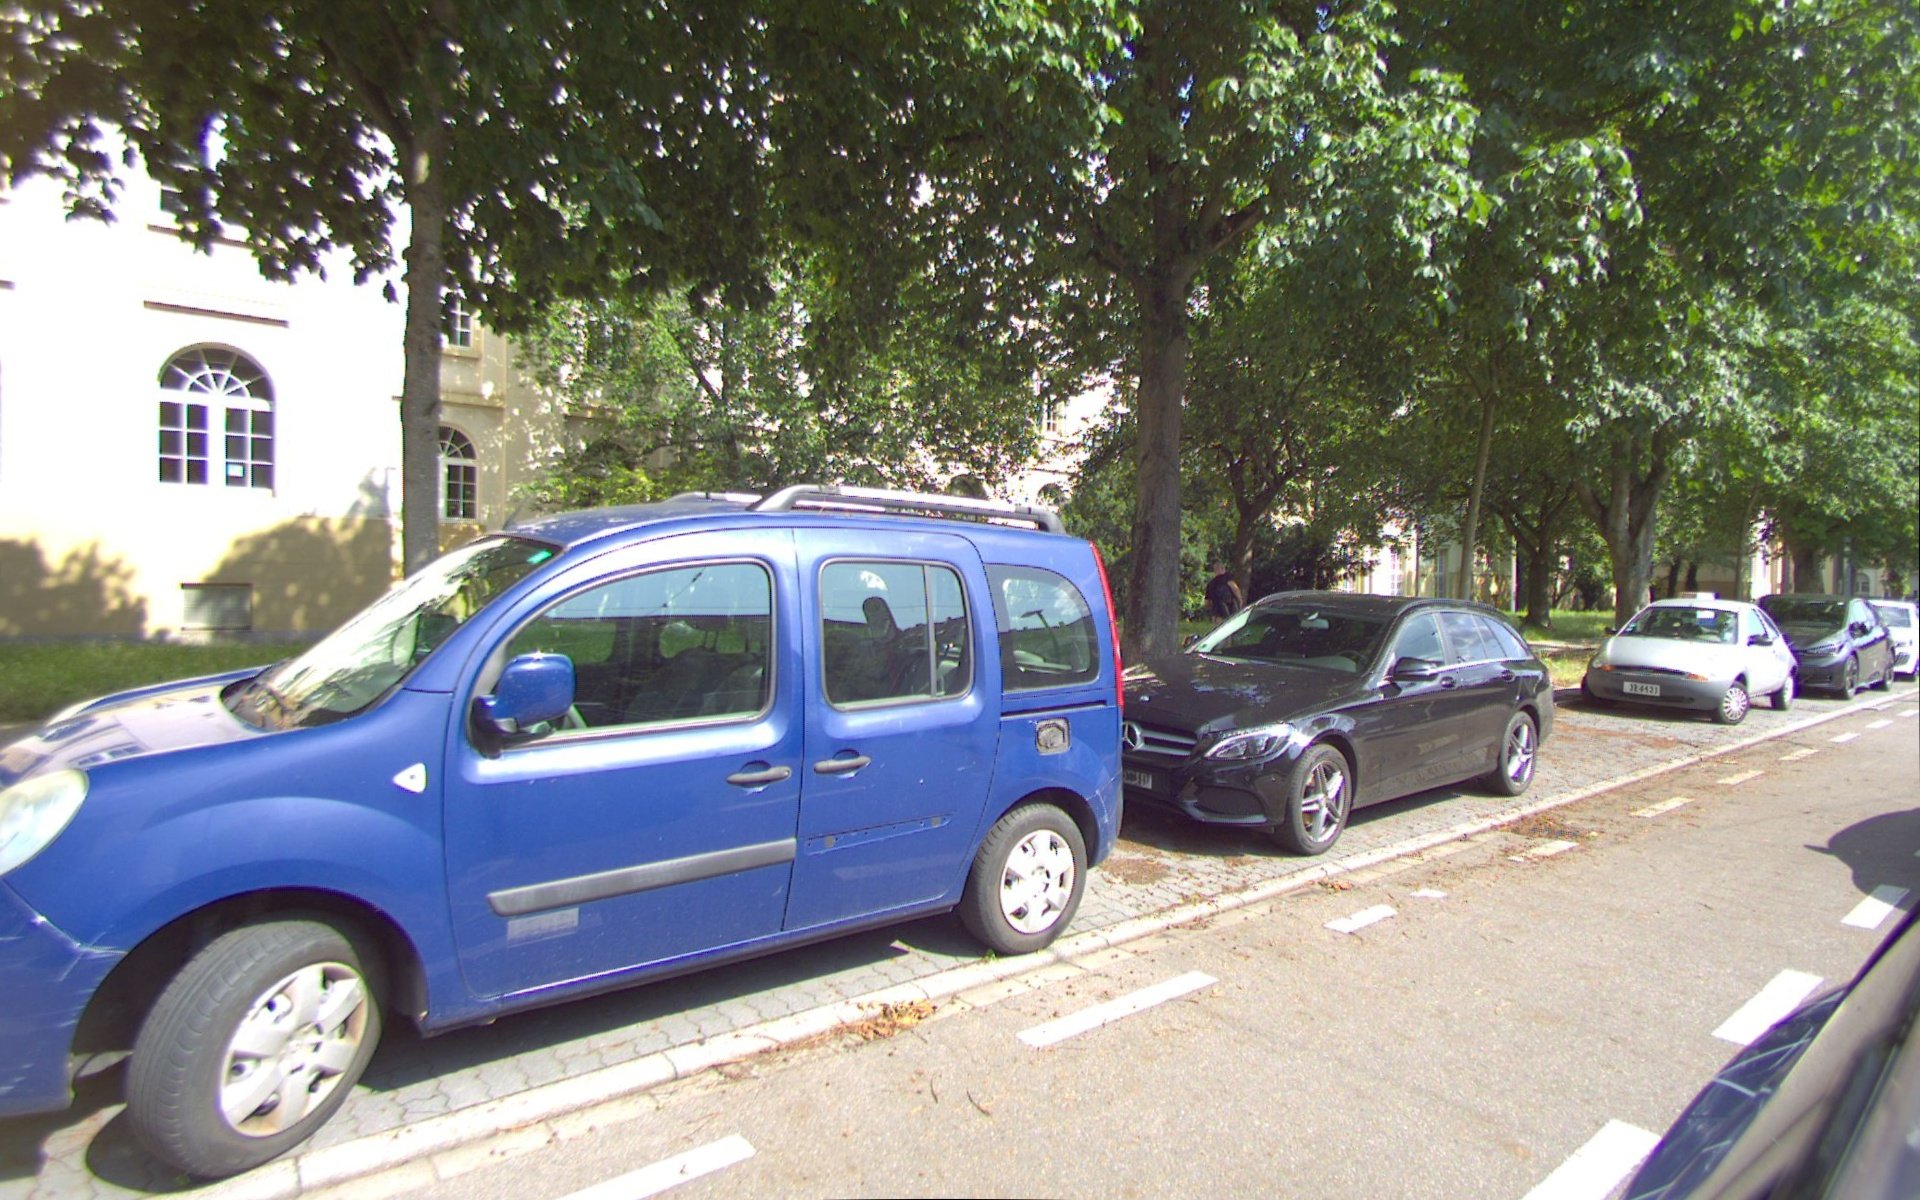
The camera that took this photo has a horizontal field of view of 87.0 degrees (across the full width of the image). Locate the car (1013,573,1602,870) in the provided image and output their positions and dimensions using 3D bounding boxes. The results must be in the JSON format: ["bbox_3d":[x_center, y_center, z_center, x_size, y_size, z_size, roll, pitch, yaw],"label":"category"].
[{"bbox_3d":[2.795,0.620,7.498,4.711,1.459,1.922,0,3,-40],"label":"car"}]

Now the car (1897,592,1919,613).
[{"bbox_3d":[77.698,0.216,80.152,1.820,1.676,4.843,-1,2,-28],"label":"car"}]

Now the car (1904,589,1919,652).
[{"bbox_3d":[24.819,0.522,25.159,3.497,1.478,1.559,-1,5,-41],"label":"car"}]

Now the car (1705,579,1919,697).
[{"bbox_3d":[13.848,0.524,16.337,4.591,1.603,1.730,0,2,-38],"label":"car"}]

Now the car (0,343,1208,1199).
[{"bbox_3d":[-1.115,0.395,3.959,4.106,1.919,1.828,1,2,-37],"label":"car"}]

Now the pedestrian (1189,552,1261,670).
[{"bbox_3d":[4.012,0.152,15.343,0.752,1.717,0.747,0,1,-32],"label":"pedestrian"}]

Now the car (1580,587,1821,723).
[{"bbox_3d":[9.634,0.601,13.101,3.532,1.462,1.595,-1,3,-38],"label":"car"}]

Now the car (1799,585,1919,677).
[{"bbox_3d":[18.091,0.529,19.836,4.179,1.542,1.839,0,4,-41],"label":"car"}]
